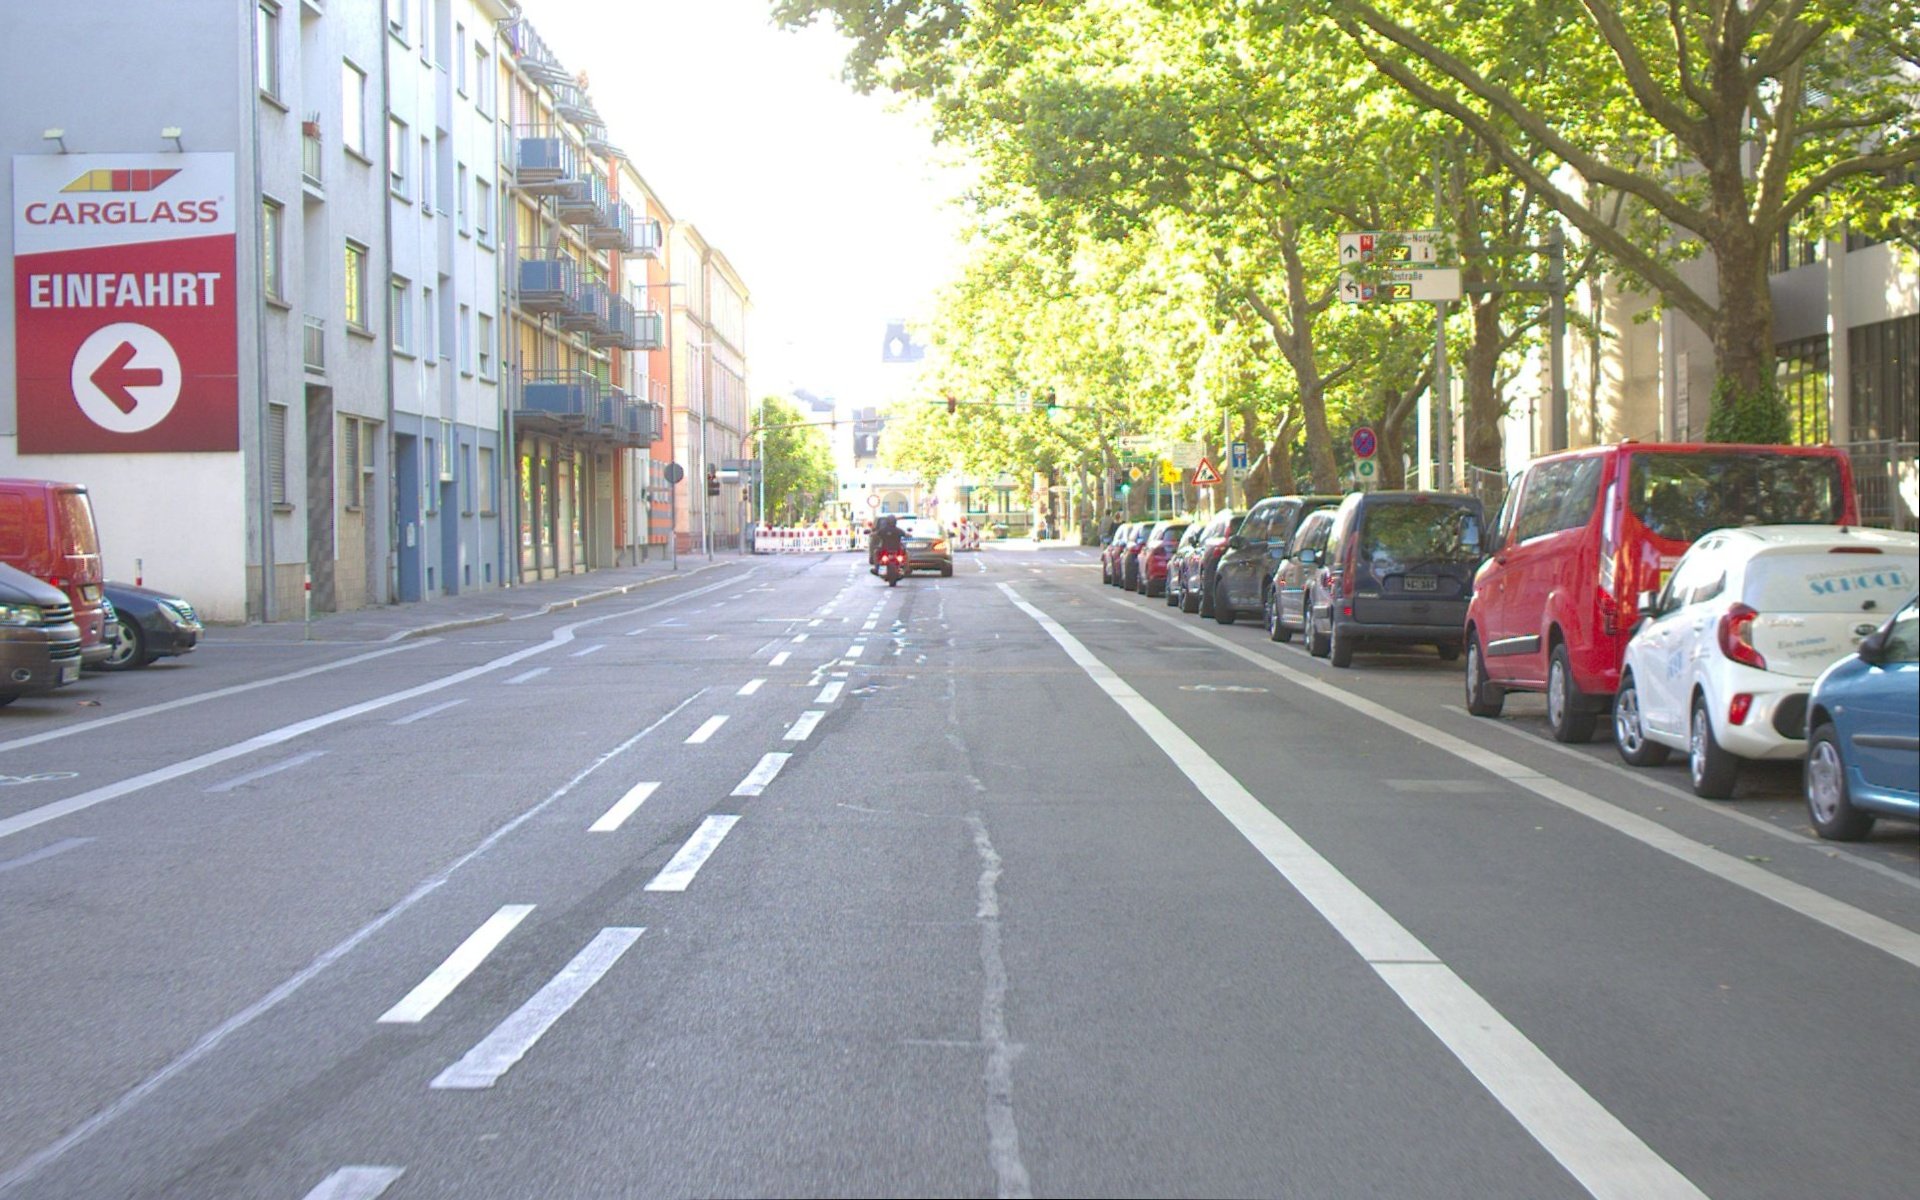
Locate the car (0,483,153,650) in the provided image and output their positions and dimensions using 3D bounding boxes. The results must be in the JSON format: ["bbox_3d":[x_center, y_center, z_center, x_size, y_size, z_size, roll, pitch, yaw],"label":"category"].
[{"bbox_3d":[-10.282,-0.395,33.889,4.173,1.558,1.887,2,1,0],"label":"car"}]

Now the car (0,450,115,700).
[{"bbox_3d":[-9.415,-0.295,27.984,4.522,1.945,2.057,2,2,0],"label":"car"}]

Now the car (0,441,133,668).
[{"bbox_3d":[-9.904,-0.485,30.815,4.421,1.945,2.146,2,2,0],"label":"car"}]

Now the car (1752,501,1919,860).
[{"bbox_3d":[4.989,0.362,15.121,1.855,1.505,3.930,2,2,-3],"label":"car"}]

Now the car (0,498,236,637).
[{"bbox_3d":[-9.957,-0.377,36.195,4.228,1.375,2.046,1,1,0],"label":"car"}]

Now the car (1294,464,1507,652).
[{"bbox_3d":[4.543,-0.471,35.934,1.693,1.806,4.130,1,2,1],"label":"car"}]

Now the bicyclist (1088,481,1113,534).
[{"bbox_3d":[4.135,-2.720,101.061,0.656,1.525,0.906,1,1,-1],"label":"bicyclist"}]

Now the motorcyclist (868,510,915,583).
[{"bbox_3d":[-1.518,-1.186,75.791,1.012,1.596,1.406,-1,1,-1],"label":"motorcyclist"}]

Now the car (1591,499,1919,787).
[{"bbox_3d":[4.801,0.178,19.859,1.637,1.480,3.760,1,2,1],"label":"car"}]

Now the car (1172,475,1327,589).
[{"bbox_3d":[4.364,-1.056,52.407,1.775,1.622,4.621,1,2,-2],"label":"car"}]

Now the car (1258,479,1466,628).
[{"bbox_3d":[4.664,-0.581,40.474,1.692,1.622,4.331,1,2,-3],"label":"car"}]

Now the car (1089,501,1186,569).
[{"bbox_3d":[3.966,-1.492,77.377,1.692,1.444,4.437,1,2,-3],"label":"car"}]

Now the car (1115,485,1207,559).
[{"bbox_3d":[4.222,-1.656,72.623,1.693,1.461,4.066,1,2,0],"label":"car"}]

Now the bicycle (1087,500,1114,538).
[{"bbox_3d":[4.132,-2.381,101.043,0.656,1.107,2.186,1,1,-1],"label":"bicycle"}]

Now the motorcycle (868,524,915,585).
[{"bbox_3d":[-1.508,-1.017,75.743,1.012,1.302,2.673,-1,2,-1],"label":"motorcycle"}]

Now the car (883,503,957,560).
[{"bbox_3d":[-1.044,-1.748,87.424,1.828,1.415,3.815,0,2,-1],"label":"car"}]

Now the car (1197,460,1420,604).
[{"bbox_3d":[4.718,-0.955,47.265,1.824,1.835,4.901,1,2,-9],"label":"car"}]

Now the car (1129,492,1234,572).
[{"bbox_3d":[4.302,-1.340,67.306,1.693,1.474,4.319,1,2,-1],"label":"car"}]

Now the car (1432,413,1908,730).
[{"bbox_3d":[4.911,-0.254,24.645,2.078,1.987,5.172,1,2,-3],"label":"car"}]
